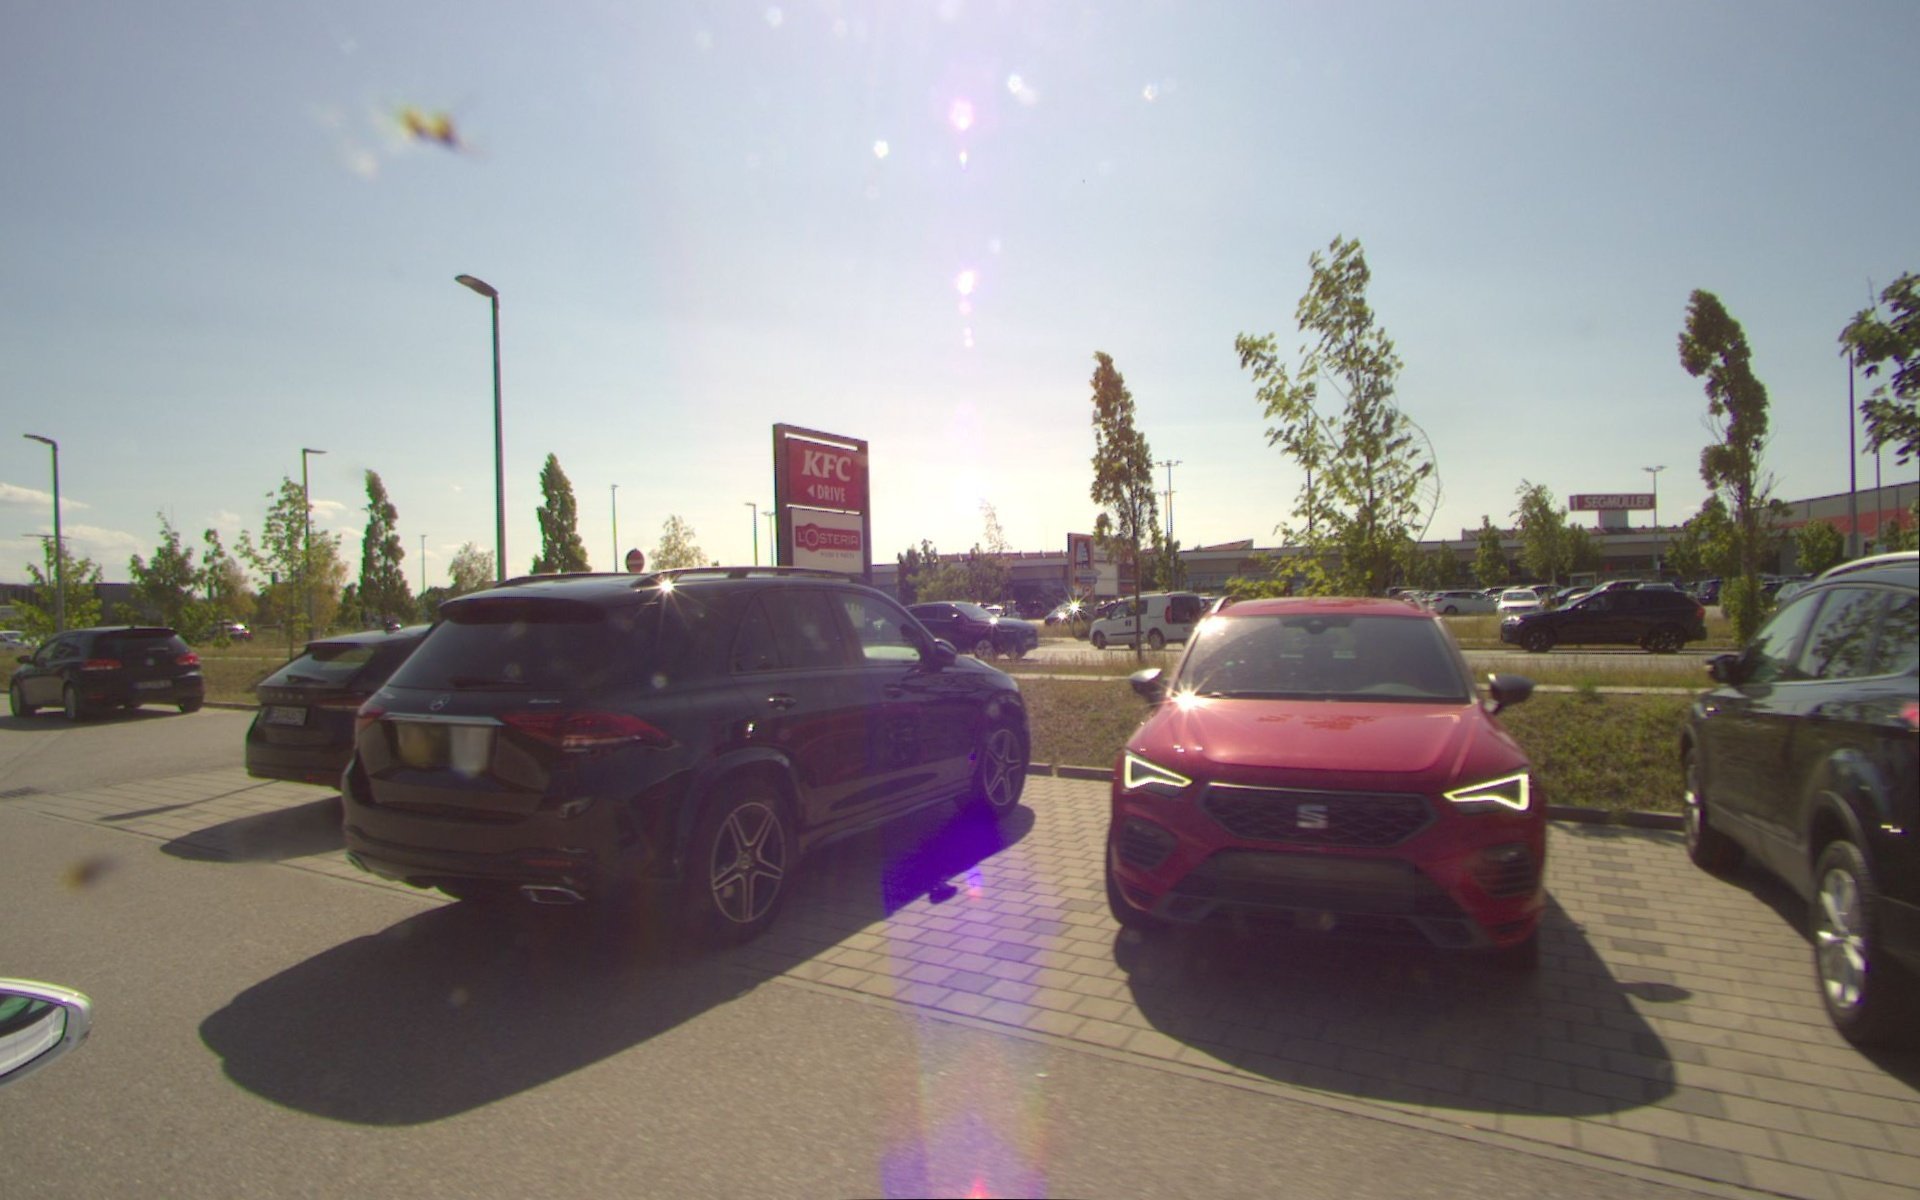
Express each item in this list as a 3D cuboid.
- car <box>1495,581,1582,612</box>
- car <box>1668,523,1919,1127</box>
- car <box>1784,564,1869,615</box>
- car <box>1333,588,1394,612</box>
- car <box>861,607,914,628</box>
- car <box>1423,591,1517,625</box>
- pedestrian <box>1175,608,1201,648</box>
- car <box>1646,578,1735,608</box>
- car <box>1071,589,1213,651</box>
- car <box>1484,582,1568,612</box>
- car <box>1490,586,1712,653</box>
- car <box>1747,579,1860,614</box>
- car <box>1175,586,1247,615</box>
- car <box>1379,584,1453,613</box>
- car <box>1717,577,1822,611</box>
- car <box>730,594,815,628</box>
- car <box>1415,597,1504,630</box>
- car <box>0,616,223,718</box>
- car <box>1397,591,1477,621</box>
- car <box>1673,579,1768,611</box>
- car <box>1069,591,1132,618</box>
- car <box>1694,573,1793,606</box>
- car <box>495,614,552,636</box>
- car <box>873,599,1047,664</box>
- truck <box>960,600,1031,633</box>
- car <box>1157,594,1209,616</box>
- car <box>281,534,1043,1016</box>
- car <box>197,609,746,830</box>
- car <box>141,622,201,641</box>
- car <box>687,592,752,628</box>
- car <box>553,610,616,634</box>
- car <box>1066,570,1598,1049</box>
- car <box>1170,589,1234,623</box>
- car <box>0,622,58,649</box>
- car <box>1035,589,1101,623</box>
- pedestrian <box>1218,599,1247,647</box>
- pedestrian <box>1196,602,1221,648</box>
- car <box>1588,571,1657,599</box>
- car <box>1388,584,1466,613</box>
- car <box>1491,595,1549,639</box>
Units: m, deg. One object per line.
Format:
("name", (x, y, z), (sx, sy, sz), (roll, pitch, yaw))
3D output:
("car", (36.222, -0.191, 62.788), (4.321, 1.880, 1.955), (-1, 0, 10))
("car", (4.413, 0.657, 4.089), (1.866, 1.724, 4.316), (-1, -1, 27))
("car", (34.110, -0.379, 39.529), (1.928, 1.880, 4.380), (-1, 0, 33))
("car", (33.469, 0.023, 83.136), (4.320, 1.880, 1.955), (-1, 0, 8))
("car", (-6.001, 1.418, 82.911), (3.929, 1.639, 1.996), (-1, 0, 18))
("car", (28.798, 0.458, 56.658), (4.321, 1.880, 1.955), (-1, 0, 10))
("pedestrian", (8.143, 0.993, 35.737), (0.715, 1.416, 0.861), (-1, -1, 28))
("car", (48.159, -0.432, 66.101), (4.321, 1.880, 1.955), (-1, 0, 10))
("car", (6.078, 0.658, 34.042), (1.855, 1.980, 4.861), (-1, 0, -35))
("car", (36.715, -0.175, 65.086), (4.321, 1.880, 1.955), (-1, 0, 10))
("car", (16.683, 0.513, 26.399), (4.729, 1.646, 1.993), (-1, 0, 26))
("car", (46.465, -0.176, 55.250), (4.321, 1.880, 1.955), (-1, 0, 10))
("car", (16.688, 0.029, 66.770), (4.486, 1.880, 1.955), (-1, 0, 10))
("car", (31.650, -0.086, 69.581), (4.321, 1.880, 1.955), (-1, 0, 10))
("car", (46.963, -0.335, 58.193), (4.321, 1.880, 1.955), (-1, 0, 10))
("car", (-12.864, 0.752, 69.394), (2.770, 2.267, 6.294), (-1, 0, 23))
("car", (29.590, 0.809, 59.416), (4.321, 1.880, 1.955), (-1, 0, 10))
("car", (-14.790, 1.094, 17.342), (4.060, 1.497, 1.832), (-1, 1, 31))
("car", (30.723, 0.377, 64.601), (4.321, 1.880, 1.955), (-1, 0, 10))
("car", (47.725, -0.298, 62.949), (4.321, 1.880, 1.955), (-1, 0, 10))
("car", (10.996, 0.391, 78.847), (4.836, 2.040, 2.082), (-1, 0, 6))
("car", (47.269, -0.612, 60.502), (4.321, 1.880, 1.955), (-1, 0, 10))
("car", (-33.451, 1.877, 76.802), (1.813, 1.639, 3.653), (-1, 0, 29))
("car", (-0.022, 0.877, 29.047), (4.686, 1.755, 1.992), (-1, 0, 29))
("truck", (2.180, 0.966, 60.003), (1.970, 1.888, 5.408), (-1, 0, 30))
("car", (19.394, 0.453, 87.130), (4.321, 1.880, 1.955), (-1, 0, 10))
("car", (-1.234, 0.707, 6.178), (1.866, 1.783, 4.573), (-1, -1, 27))
("car", (-4.200, 0.873, 9.473), (1.848, 1.506, 4.436), (-1, 0, 28))
("car", (-62.142, 2.452, 78.949), (1.559, 1.414, 3.715), (-1, 0, 6))
("car", (-16.969, 0.712, 70.940), (1.965, 2.488, 5.066), (0, 0, 20))
("car", (-28.481, 1.638, 76.099), (1.966, 1.748, 4.412), (-1, 0, 23))
("car", (2.029, 0.762, 5.654), (1.863, 1.629, 4.073), (0, -1, 21))
("car", (14.067, 0.344, 58.414), (1.963, 1.870, 4.403), (-1, 0, -12))
("car", (-54.549, 2.039, 57.707), (3.925, 1.503, 1.877), (-1, 0, 12))
("car", (6.206, 0.345, 56.868), (1.970, 1.870, 4.710), (-1, 0, 30))
("pedestrian", (9.289, 0.782, 34.159), (0.746, 1.621, 0.688), (0, 0, 36))
("pedestrian", (8.611, 0.850, 34.703), (0.658, 1.576, 0.622), (0, 0, 36))
("car", (50.759, -1.123, 76.805), (3.925, 2.040, 1.998), (-1, 0, 13))
("car", (31.244, -0.105, 67.094), (4.321, 1.880, 1.955), (-1, 0, 10))
("car", (25.035, 0.742, 44.680), (1.972, 1.880, 4.262), (-1, 0, 33))
